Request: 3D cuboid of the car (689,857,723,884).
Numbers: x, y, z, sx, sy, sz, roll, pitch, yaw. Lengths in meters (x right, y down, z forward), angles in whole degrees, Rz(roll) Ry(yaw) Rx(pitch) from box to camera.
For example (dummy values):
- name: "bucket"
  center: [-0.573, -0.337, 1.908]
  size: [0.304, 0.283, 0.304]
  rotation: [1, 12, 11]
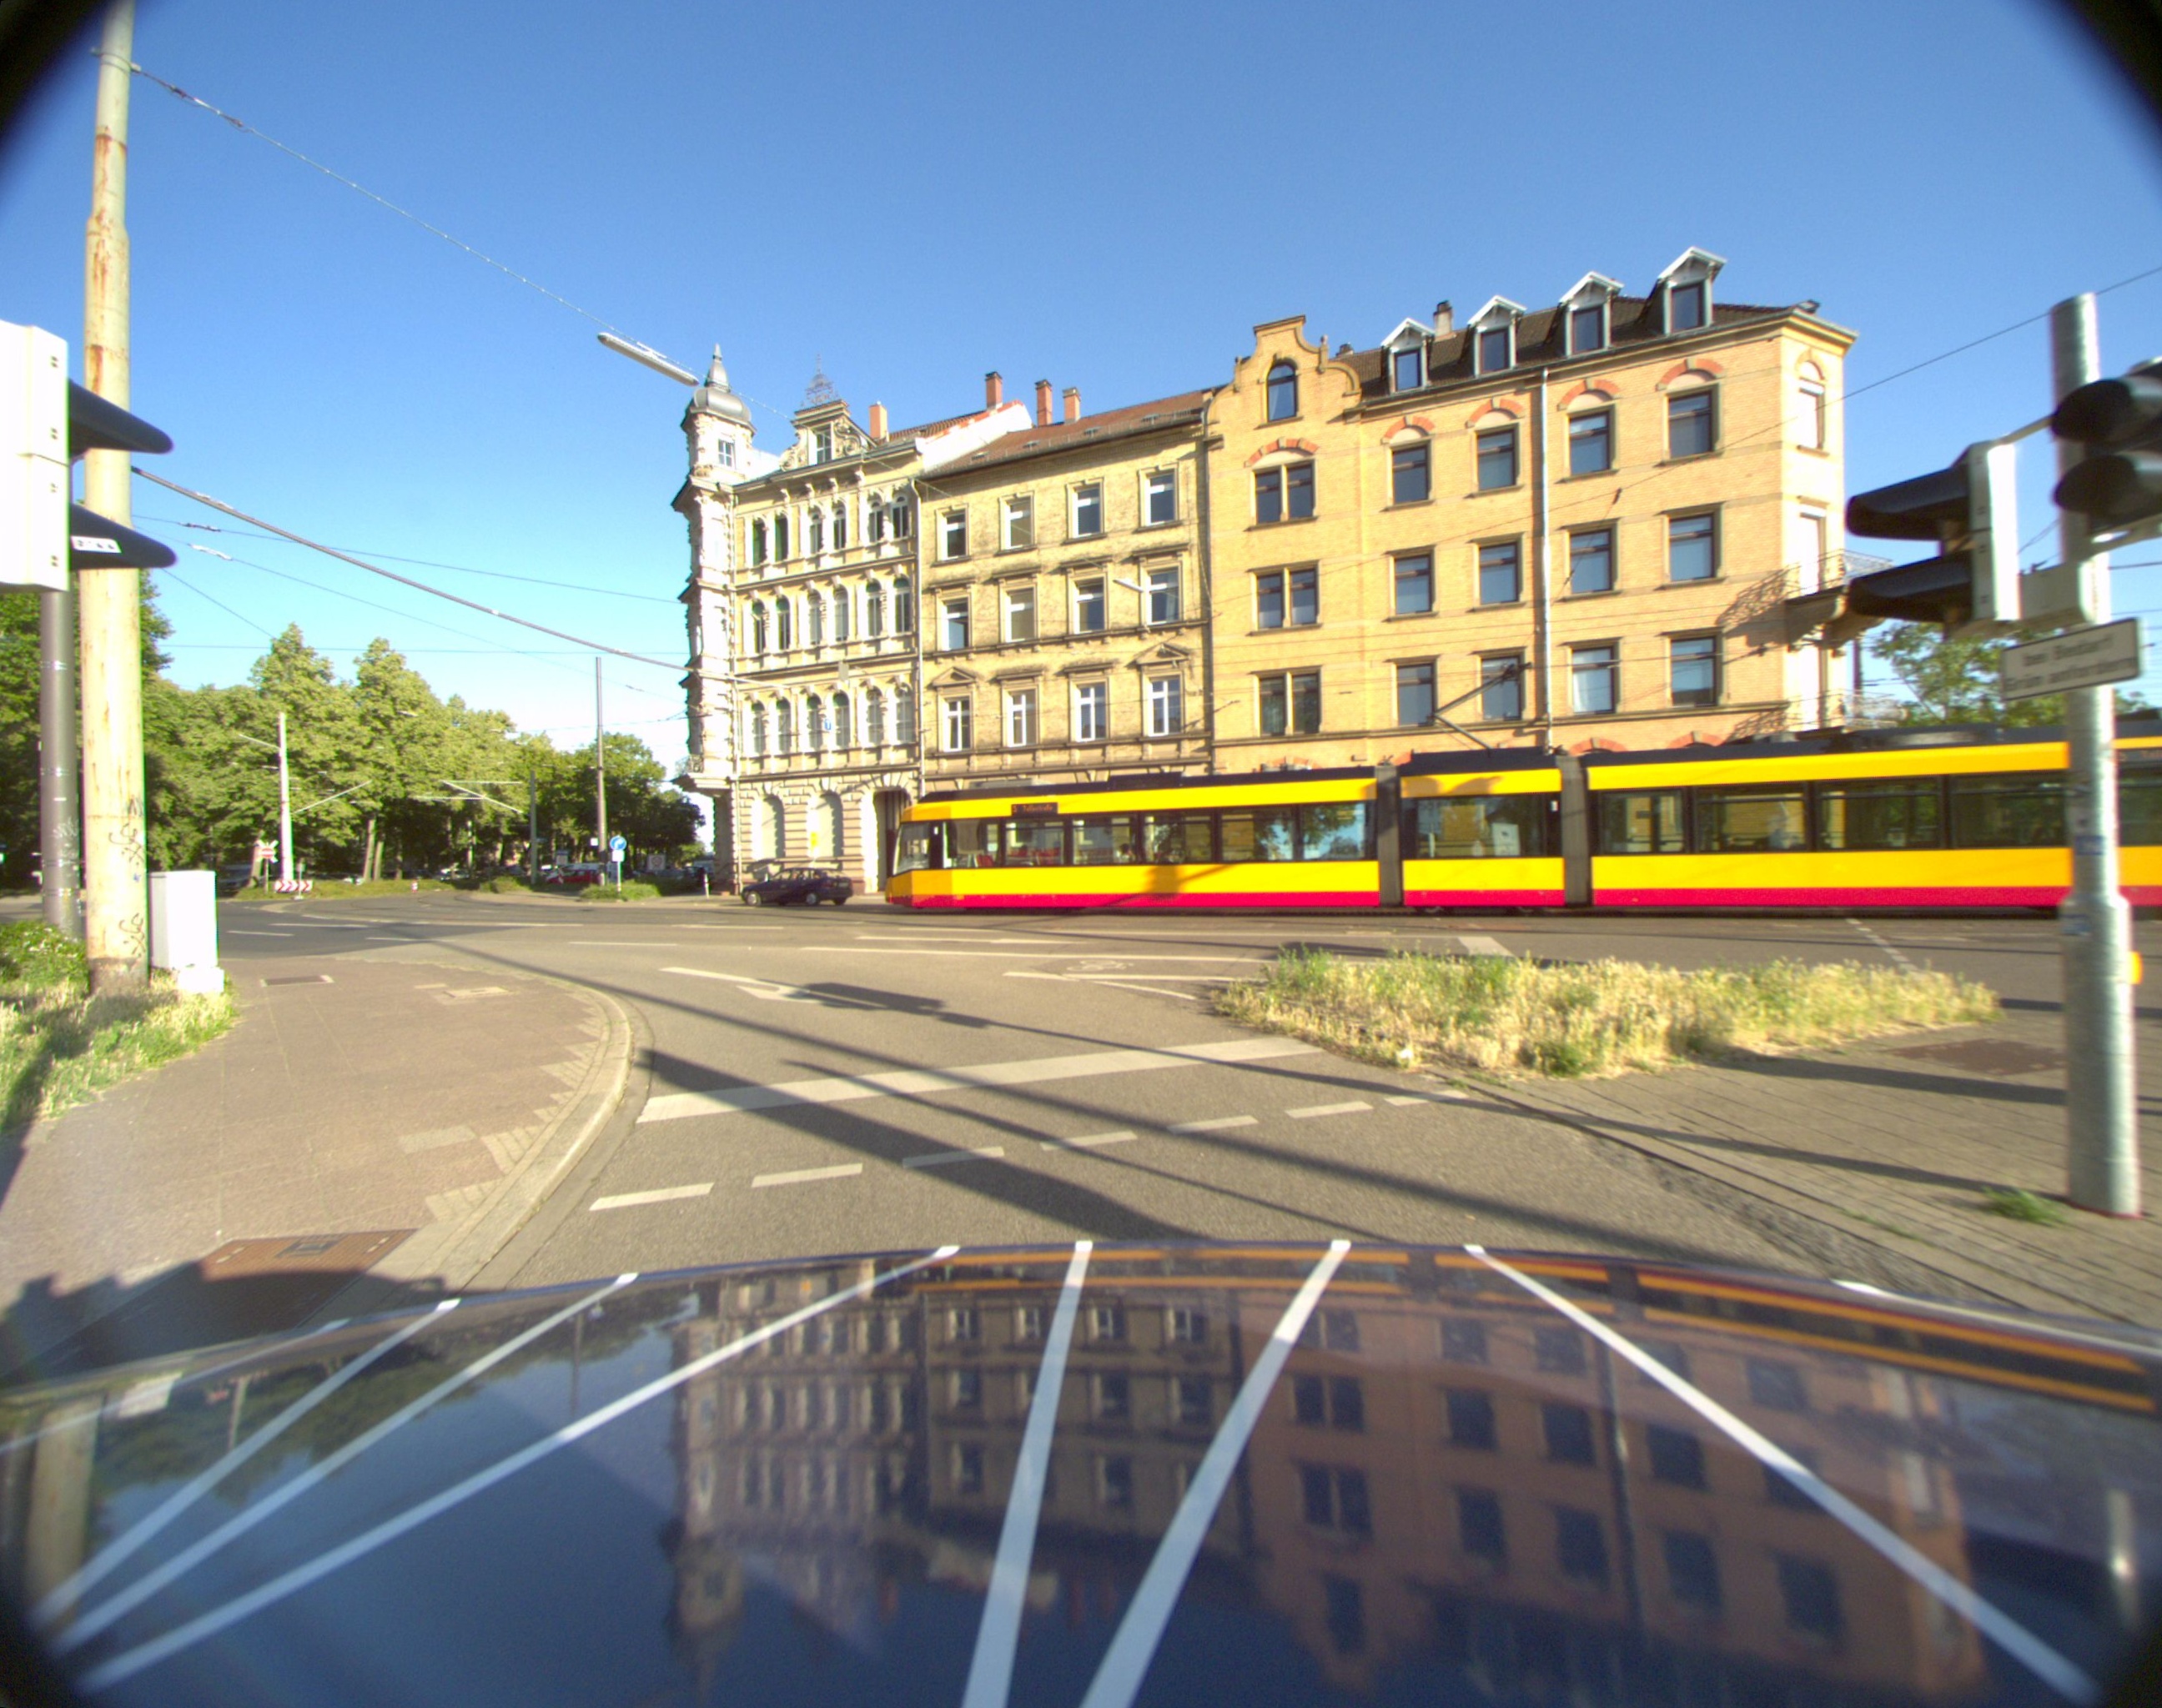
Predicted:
- name: "car"
  center: [-29.530, 1.274, 59.907]
  size: [2.002, 2.002, 4.627]
  rotation: [-1, 0, -22]

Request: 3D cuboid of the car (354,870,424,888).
- name: "car"
  center: [-54.141, 1.942, 59.527]
  size: [3.689, 1.346, 1.739]
  rotation: [-1, 0, -10]

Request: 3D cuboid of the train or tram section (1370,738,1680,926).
- name: "train or tram section"
  center: [9.118, -0.360, 16.381]
  size: [5.292, 3.487, 2.874]
  rotation: [-1, 0, 20]

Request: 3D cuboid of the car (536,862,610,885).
- name: "car"
  center: [-36.410, 1.394, 54.548]
  size: [3.999, 1.499, 1.868]
  rotation: [-1, 0, -5]

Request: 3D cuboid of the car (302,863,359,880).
- name: "car"
  center: [-85.008, 1.953, 86.086]
  size: [4.440, 1.739, 2.000]
  rotation: [-1, 0, 0]

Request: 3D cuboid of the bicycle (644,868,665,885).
- name: "bicycle"
  center: [-28.200, 1.483, 50.257]
  size: [0.729, 1.077, 2.114]
  rotation: [-2, 0, -16]

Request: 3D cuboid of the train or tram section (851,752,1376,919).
- name: "train or tram section"
  center: [0.502, -0.250, 19.404]
  size: [12.986, 3.487, 2.874]
  rotation: [-1, 0, 20]

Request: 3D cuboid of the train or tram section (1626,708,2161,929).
- name: "train or tram section"
  center: [16.928, -0.553, 13.588]
  size: [11.272, 3.487, 2.874]
  rotation: [-1, 0, 20]

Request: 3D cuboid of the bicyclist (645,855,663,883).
- name: "bicyclist"
  center: [-28.241, 0.968, 50.308]
  size: [0.730, 1.829, 1.211]
  rotation: [-2, 0, -15]

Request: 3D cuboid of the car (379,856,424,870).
- name: "car"
  center: [-89.309, 1.155, 99.878]
  size: [3.999, 1.739, 1.884]
  rotation: [-1, 0, -7]

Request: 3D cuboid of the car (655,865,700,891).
- name: "car"
  center: [-24.078, 1.394, 45.413]
  size: [1.739, 1.406, 3.429]
  rotation: [-1, 0, -17]

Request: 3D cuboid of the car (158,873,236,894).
- name: "car"
  center: [-65.256, 2.141, 56.211]
  size: [1.952, 1.390, 3.994]
  rotation: [-1, 0, -18]

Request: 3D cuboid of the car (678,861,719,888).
- name: "car"
  center: [-25.126, 1.340, 50.017]
  size: [1.739, 1.652, 3.994]
  rotation: [-1, 0, -17]

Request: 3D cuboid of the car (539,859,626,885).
- name: "car"
  center: [-37.128, 1.318, 56.687]
  size: [5.057, 1.777, 1.999]
  rotation: [-1, 0, -5]

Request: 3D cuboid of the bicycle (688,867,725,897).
- name: "bicycle"
  center: [-16.814, 1.218, 34.191]
  size: [0.645, 1.258, 2.686]
  rotation: [-1, 0, -8]

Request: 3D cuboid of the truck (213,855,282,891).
- name: "truck"
  center: [-67.192, 1.485, 61.377]
  size: [2.003, 2.767, 4.874]
  rotation: [-1, 0, -25]

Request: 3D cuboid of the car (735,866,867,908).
- name: "car"
  center: [-9.901, 1.141, 26.900]
  size: [4.153, 1.371, 1.817]
  rotation: [-1, 0, 21]
